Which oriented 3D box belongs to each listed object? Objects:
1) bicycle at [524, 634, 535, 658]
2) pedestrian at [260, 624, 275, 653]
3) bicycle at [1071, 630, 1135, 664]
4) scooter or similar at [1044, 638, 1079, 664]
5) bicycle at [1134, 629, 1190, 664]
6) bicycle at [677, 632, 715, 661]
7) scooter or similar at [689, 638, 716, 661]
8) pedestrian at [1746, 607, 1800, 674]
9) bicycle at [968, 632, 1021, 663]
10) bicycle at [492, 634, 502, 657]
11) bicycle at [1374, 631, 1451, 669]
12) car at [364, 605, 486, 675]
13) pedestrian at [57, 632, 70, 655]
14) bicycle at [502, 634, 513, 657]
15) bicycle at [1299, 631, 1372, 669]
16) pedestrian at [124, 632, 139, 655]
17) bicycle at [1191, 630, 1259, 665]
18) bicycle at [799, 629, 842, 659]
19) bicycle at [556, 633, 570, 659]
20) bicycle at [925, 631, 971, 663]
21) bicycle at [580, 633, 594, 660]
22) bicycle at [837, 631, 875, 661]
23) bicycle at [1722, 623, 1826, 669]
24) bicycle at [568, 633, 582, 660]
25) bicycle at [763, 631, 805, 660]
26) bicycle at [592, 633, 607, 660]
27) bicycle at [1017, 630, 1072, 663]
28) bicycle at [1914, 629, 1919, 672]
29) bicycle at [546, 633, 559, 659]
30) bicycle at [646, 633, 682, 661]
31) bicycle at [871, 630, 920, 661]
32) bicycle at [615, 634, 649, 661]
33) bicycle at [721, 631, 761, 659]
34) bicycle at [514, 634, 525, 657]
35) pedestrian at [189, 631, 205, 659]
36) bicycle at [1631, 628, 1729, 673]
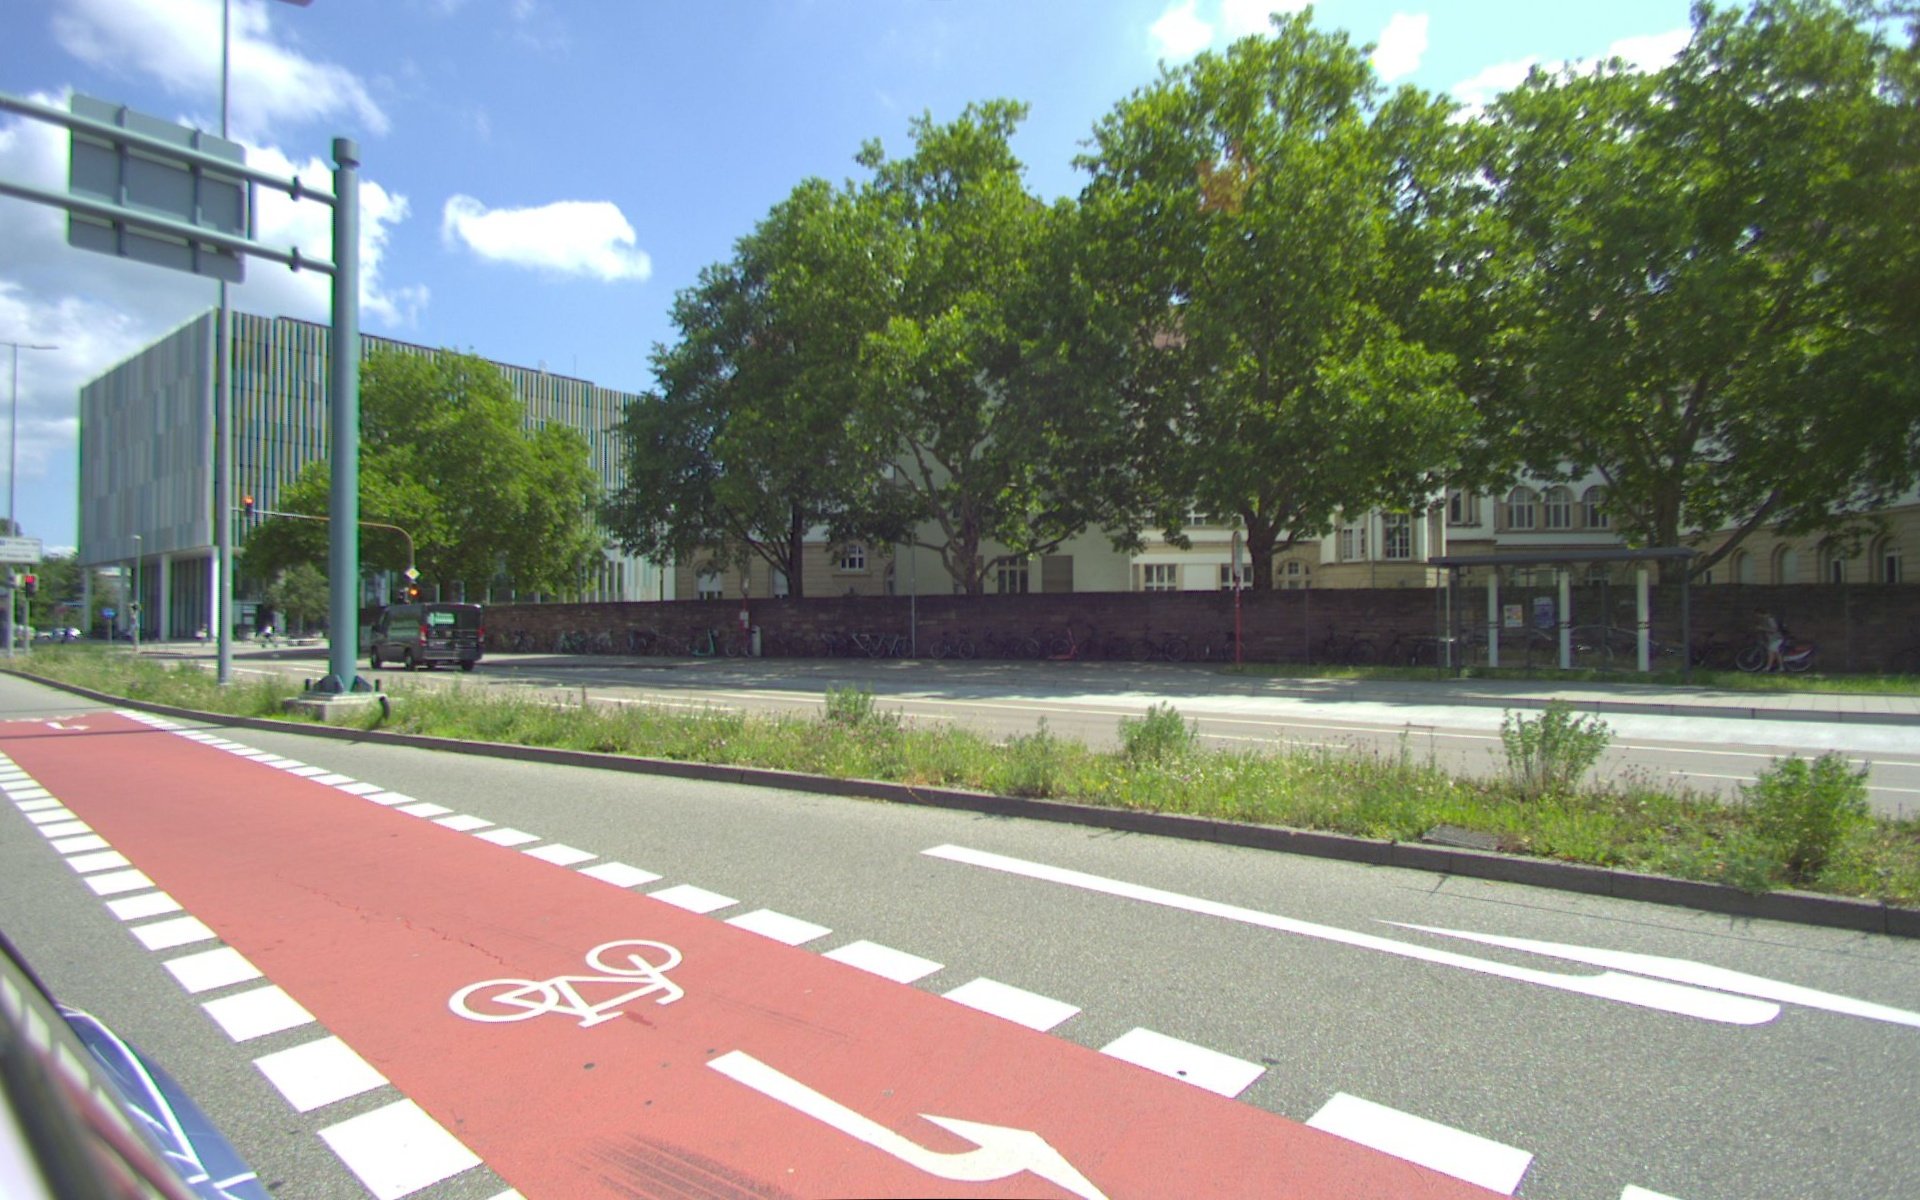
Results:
[{"bbox_3d":[-19.413,2.065,45.604,0.324,1.025,1.675,1,-2,-28],"label":"bicycle"},{"bbox_3d":[-47.420,2.634,69.284,0.718,1.932,0.624,-1,0,38],"label":"pedestrian"},{"bbox_3d":[4.492,1.460,31.888,1.946,1.051,0.395,-1,-2,25],"label":"bicycle"},{"bbox_3d":[3.184,1.602,31.805,1.060,0.800,0.351,-1,-2,17],"label":"scooter or similar"},{"bbox_3d":[6.214,1.435,31.160,1.629,1.051,0.395,-1,-2,22],"label":"bicycle"},{"bbox_3d":[-10.449,1.834,40.002,1.663,1.116,0.379,-1,-2,29],"label":"bicycle"},{"bbox_3d":[-9.878,1.902,38.839,1.065,0.850,0.350,-1,-2,29],"label":"scooter or similar"},{"bbox_3d":[20.232,0.998,25.196,0.773,1.623,0.720,-1,-2,12],"label":"pedestrian"},{"bbox_3d":[1.124,1.565,33.552,1.753,1.011,0.394,-1,-2,27],"label":"bicycle"},{"bbox_3d":[-21.436,2.082,46.888,0.324,1.025,1.675,1,-2,-28],"label":"bicycle"},{"bbox_3d":[12.654,1.399,28.347,1.945,1.051,0.395,-1,-2,22],"label":"bicycle"},{"bbox_3d":[-18.017,1.349,34.029,4.519,2.188,2.185,-2,-4,42],"label":"car"},{"bbox_3d":[-78.360,3.798,88.423,0.806,1.931,0.706,-1,0,36],"label":"pedestrian"},{"bbox_3d":[-20.802,2.074,46.506,0.324,1.025,1.675,1,-2,-28],"label":"bicycle"},{"bbox_3d":[10.793,1.428,29.138,1.945,1.051,0.395,-1,-2,22],"label":"bicycle"},{"bbox_3d":[-70.244,3.692,85.815,0.806,1.931,0.816,-1,0,36],"label":"pedestrian"},{"bbox_3d":[7.961,1.419,30.430,1.945,1.051,0.395,-1,-2,22],"label":"bicycle"},{"bbox_3d":[-5.078,1.594,36.804,1.663,1.051,0.379,-1,-2,29],"label":"bicycle"},{"bbox_3d":[-17.327,2.004,44.172,0.376,1.116,1.675,1,-2,-28],"label":"bicycle"},{"bbox_3d":[-0.410,1.579,34.351,1.576,1.051,0.394,-1,-2,27],"label":"bicycle"},{"bbox_3d":[-15.931,1.982,43.225,0.376,1.116,1.675,1,-2,-28],"label":"bicycle"},{"bbox_3d":[-3.708,1.625,36.058,1.409,1.051,0.374,-1,-2,27],"label":"bicycle"},{"bbox_3d":[20.687,1.159,25.760,2.022,1.146,0.396,-1,-2,18],"label":"bicycle"},{"bbox_3d":[-16.644,1.995,43.715,0.376,1.116,1.675,1,-2,-28],"label":"bicycle"},{"bbox_3d":[-6.550,1.674,37.672,1.663,1.051,0.379,-1,-2,29],"label":"bicycle"},{"bbox_3d":[-15.274,1.974,42.830,0.376,1.116,1.675,1,-2,-28],"label":"bicycle"},{"bbox_3d":[2.741,1.500,32.730,1.752,1.051,0.394,-1,-2,26],"label":"bicycle"},{"bbox_3d":[24.358,1.229,24.601,1.671,1.038,0.396,-1,-2,15],"label":"bicycle"},{"bbox_3d":[-17.823,2.010,44.265,0.376,1.116,1.675,1,-2,-28],"label":"bicycle"},{"bbox_3d":[-11.949,1.897,40.885,1.664,1.116,0.379,-1,-2,31],"label":"bicycle"},{"bbox_3d":[-2.270,1.577,35.305,1.753,1.051,0.394,-1,-2,27],"label":"bicycle"},{"bbox_3d":[-13.635,1.964,42.010,1.665,1.116,0.378,-1,-2,32],"label":"bicycle"},{"bbox_3d":[-8.339,1.694,38.559,1.663,1.051,0.379,-1,-2,29],"label":"bicycle"},{"bbox_3d":[-20.018,2.066,45.994,0.324,1.025,1.675,1,-2,-28],"label":"bicycle"},{"bbox_3d":[-53.569,3.174,71.053,0.806,1.931,0.706,-1,0,36],"label":"pedestrian"},{"bbox_3d":[18.713,1.310,26.344,2.022,1.146,0.396,-1,-2,18],"label":"bicycle"}]
